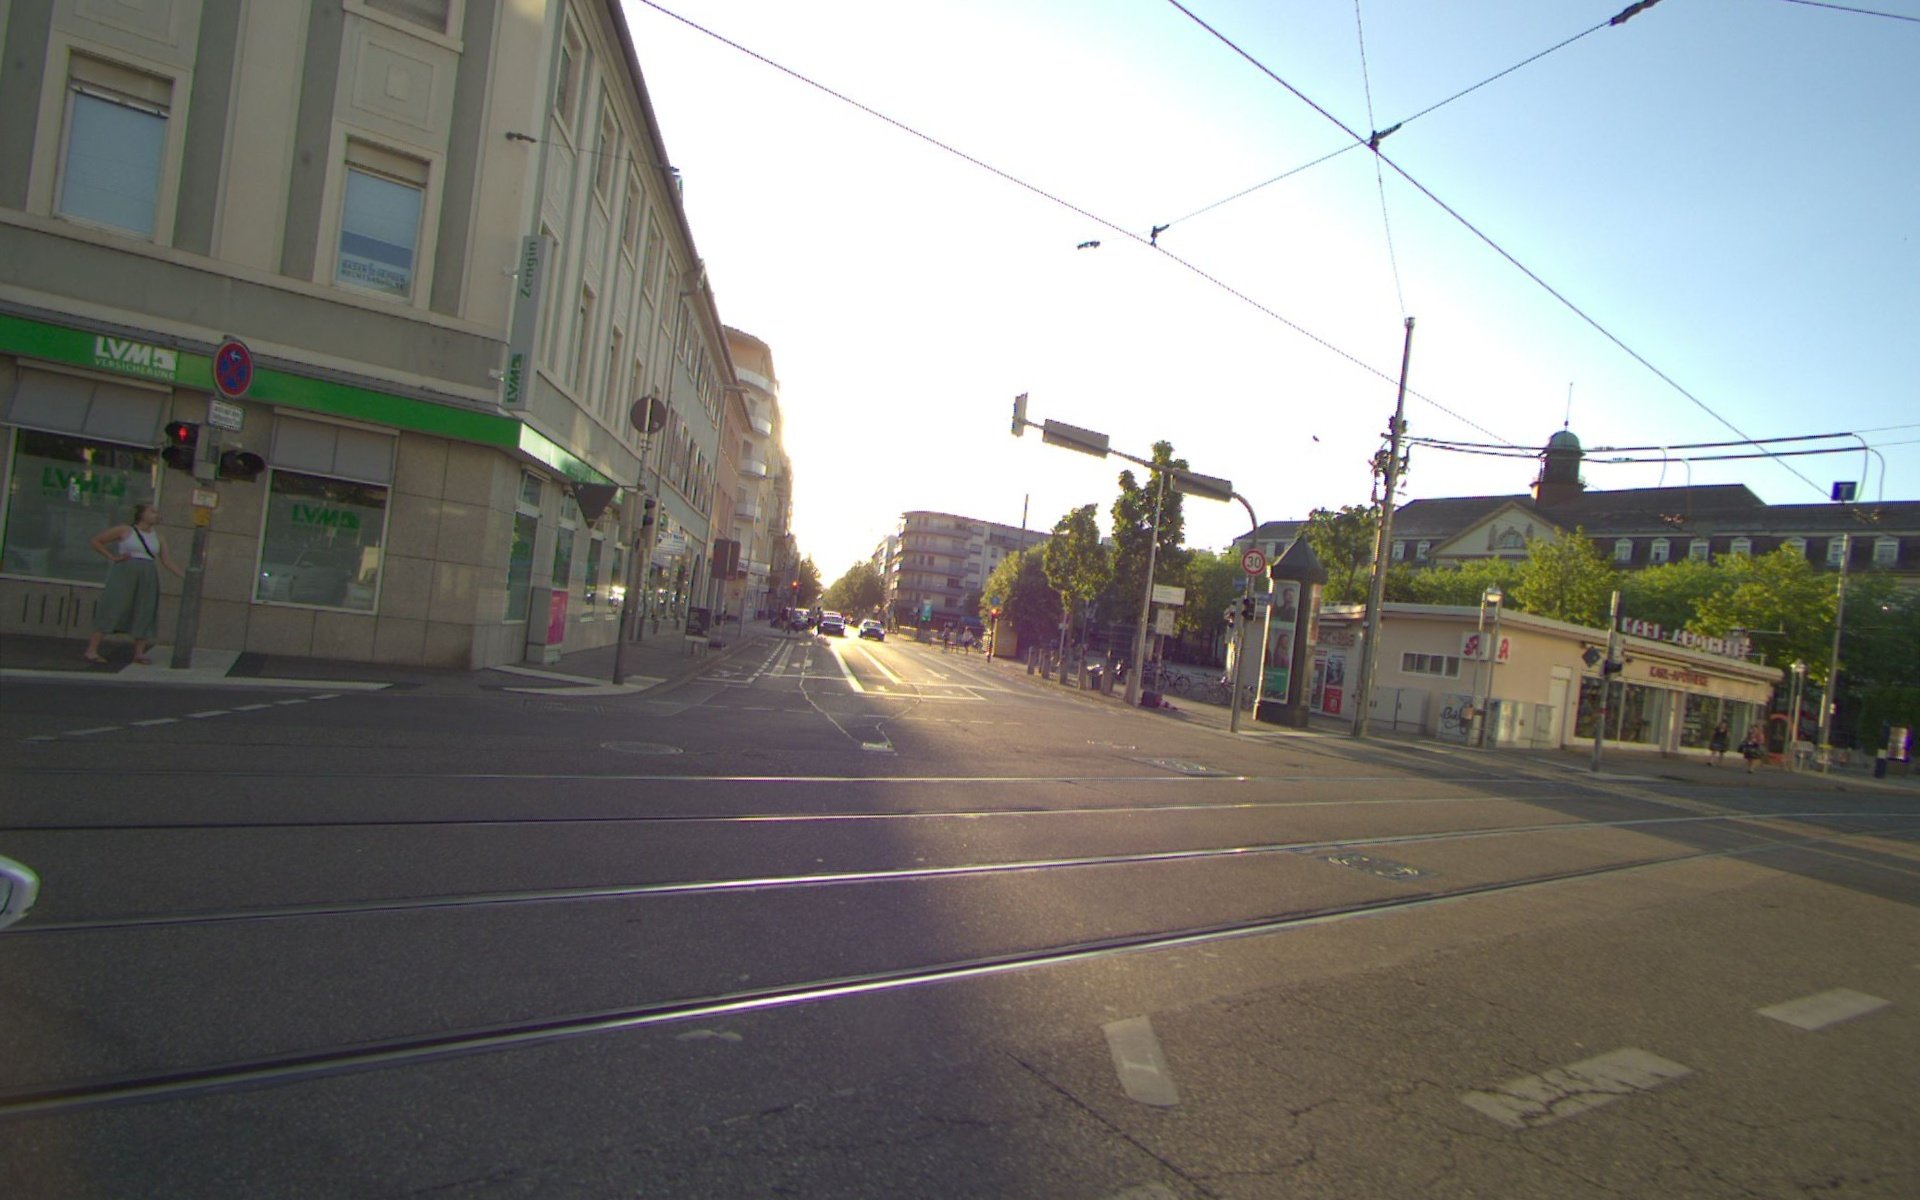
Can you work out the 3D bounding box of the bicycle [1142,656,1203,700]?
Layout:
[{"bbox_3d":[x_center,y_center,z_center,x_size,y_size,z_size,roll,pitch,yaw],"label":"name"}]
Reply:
[{"bbox_3d":[8.778,3.200,41.554,2.191,1.541,0.680,7,-1,-8],"label":"bicycle"}]

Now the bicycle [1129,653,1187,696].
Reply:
[{"bbox_3d":[8.429,3.182,42.899,2.191,1.541,0.680,7,-1,-8],"label":"bicycle"}]

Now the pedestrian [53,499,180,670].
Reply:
[{"bbox_3d":[-9.410,-0.155,11.248,0.635,1.800,0.672,6,-1,5],"label":"pedestrian"}]

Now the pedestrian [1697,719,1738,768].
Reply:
[{"bbox_3d":[27.393,5.180,36.385,0.984,1.631,0.800,6,-2,-33],"label":"pedestrian"}]

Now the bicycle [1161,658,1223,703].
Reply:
[{"bbox_3d":[9.352,3.251,40.549,2.191,1.541,0.680,7,-1,-8],"label":"bicycle"}]

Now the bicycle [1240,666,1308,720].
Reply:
[{"bbox_3d":[10.409,3.067,33.386,1.956,1.541,0.479,7,-1,-2],"label":"bicycle"}]

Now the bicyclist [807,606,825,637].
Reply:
[{"bbox_3d":[-8.460,1.252,59.151,0.656,1.728,0.681,6,-1,14],"label":"bicyclist"}]

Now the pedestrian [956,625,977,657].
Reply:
[{"bbox_3d":[0.454,2.715,66.550,0.975,1.980,0.807,6,-1,18],"label":"pedestrian"}]

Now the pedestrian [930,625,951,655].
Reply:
[{"bbox_3d":[-1.256,2.621,65.312,0.975,1.805,0.807,6,-1,18],"label":"pedestrian"}]

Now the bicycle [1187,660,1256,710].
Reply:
[{"bbox_3d":[9.493,3.096,36.589,2.191,1.541,0.680,7,-1,-8],"label":"bicycle"}]

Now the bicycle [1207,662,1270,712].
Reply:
[{"bbox_3d":[9.853,3.085,35.591,1.958,1.541,0.479,7,-1,-8],"label":"bicycle"}]

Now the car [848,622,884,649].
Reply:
[{"bbox_3d":[-7.122,2.625,75.935,2.272,1.698,5.527,7,-2,-8],"label":"car"}]

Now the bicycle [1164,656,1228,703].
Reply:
[{"bbox_3d":[9.192,3.108,39.212,2.191,1.541,0.680,7,-1,-8],"label":"bicycle"}]

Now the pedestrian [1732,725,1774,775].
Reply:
[{"bbox_3d":[27.883,5.269,35.370,0.984,1.631,0.800,6,-2,-33],"label":"pedestrian"}]

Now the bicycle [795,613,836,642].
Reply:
[{"bbox_3d":[-8.492,1.632,59.152,2.187,1.418,0.681,6,-1,14],"label":"bicycle"}]

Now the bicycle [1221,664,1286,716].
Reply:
[{"bbox_3d":[10.091,3.094,34.579,1.958,1.541,0.479,7,-1,-8],"label":"bicycle"}]

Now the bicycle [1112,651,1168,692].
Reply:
[{"bbox_3d":[7.989,3.160,44.611,2.190,1.541,0.681,7,-1,-4],"label":"bicycle"}]

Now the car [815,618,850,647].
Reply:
[{"bbox_3d":[-9.239,2.290,72.478,2.272,1.698,5.527,7,-2,-8],"label":"car"}]
